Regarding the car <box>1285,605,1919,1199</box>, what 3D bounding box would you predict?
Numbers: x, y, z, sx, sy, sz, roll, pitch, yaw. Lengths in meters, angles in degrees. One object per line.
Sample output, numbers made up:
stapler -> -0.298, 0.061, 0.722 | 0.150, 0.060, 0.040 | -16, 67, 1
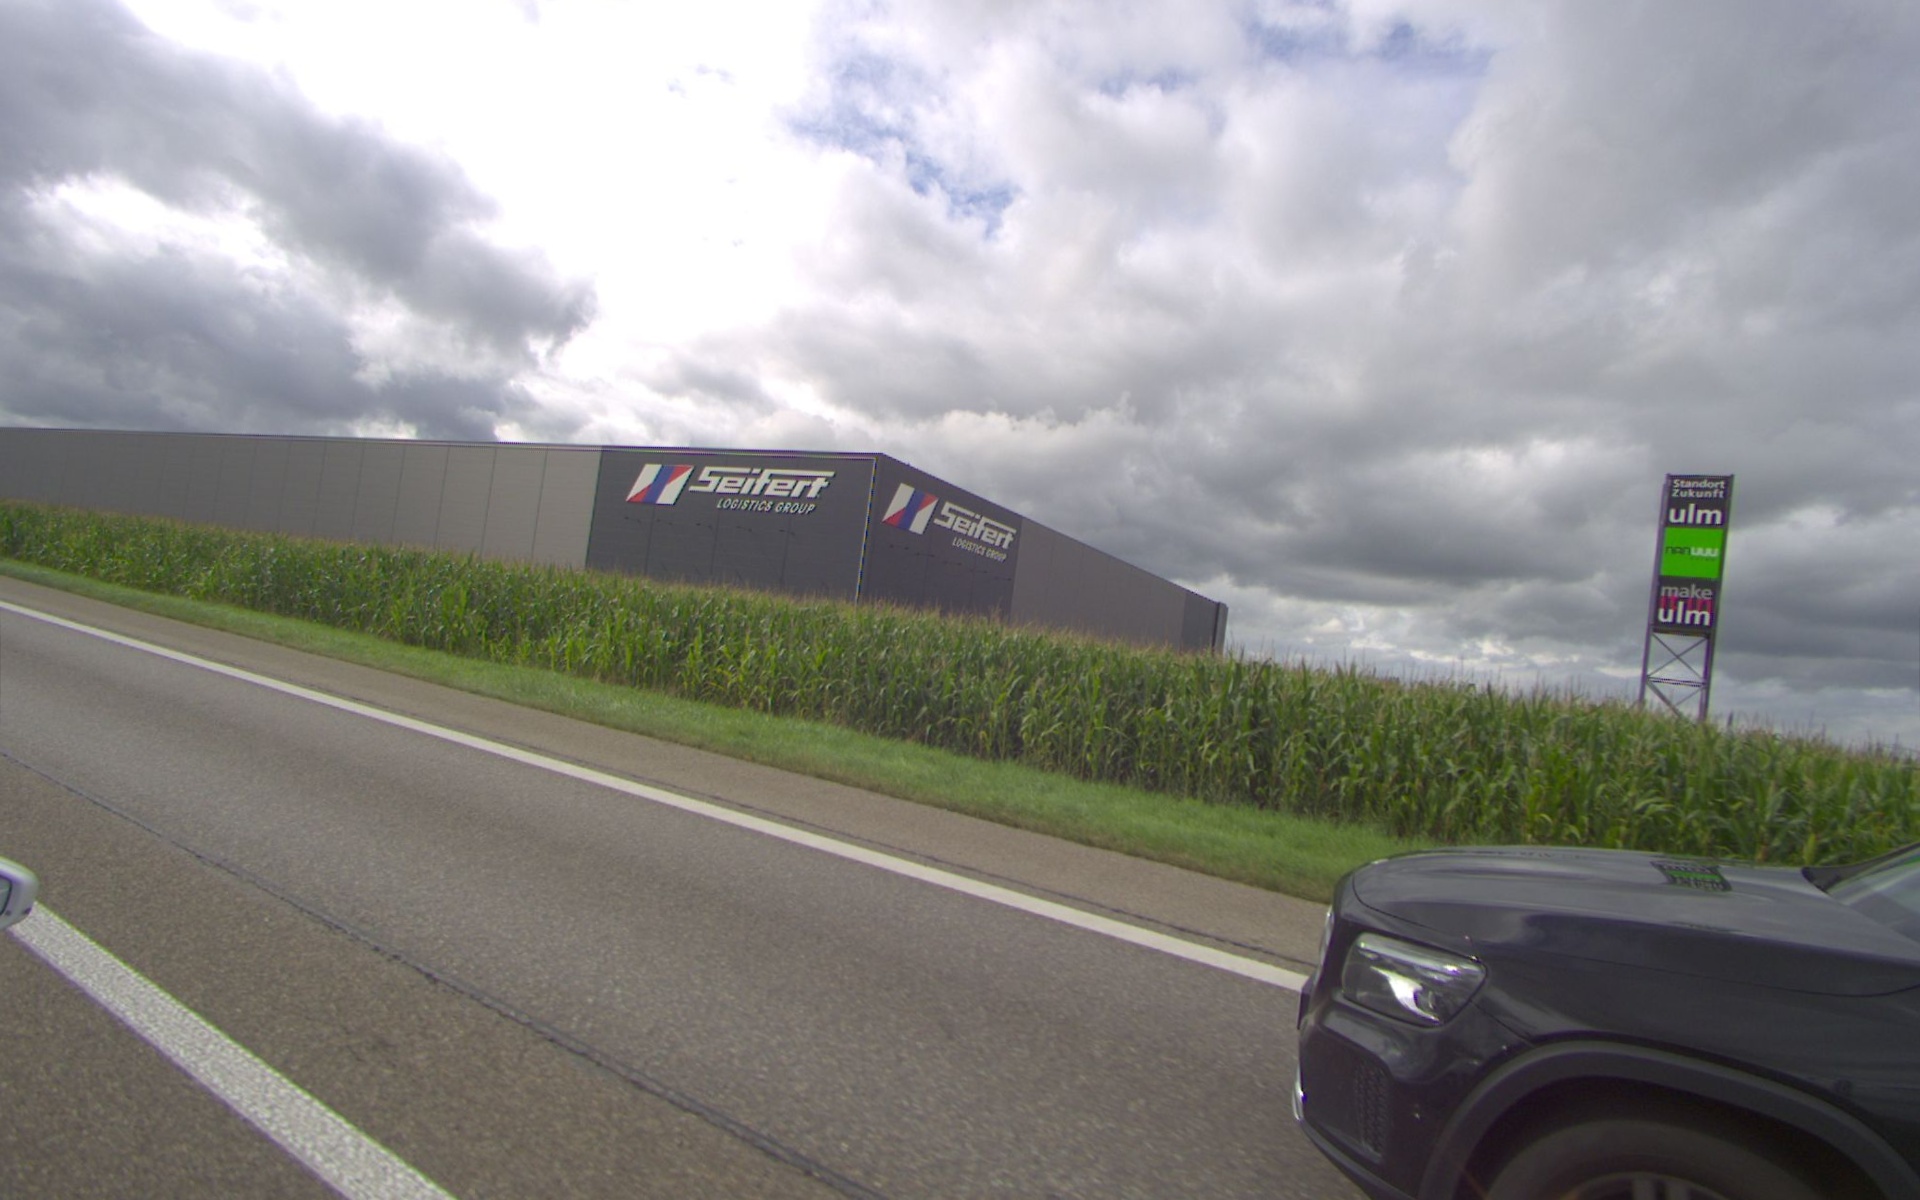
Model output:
car -> 3.102, 1.098, 2.011 | 4.288, 1.628, 1.837 | 6, -1, 31
